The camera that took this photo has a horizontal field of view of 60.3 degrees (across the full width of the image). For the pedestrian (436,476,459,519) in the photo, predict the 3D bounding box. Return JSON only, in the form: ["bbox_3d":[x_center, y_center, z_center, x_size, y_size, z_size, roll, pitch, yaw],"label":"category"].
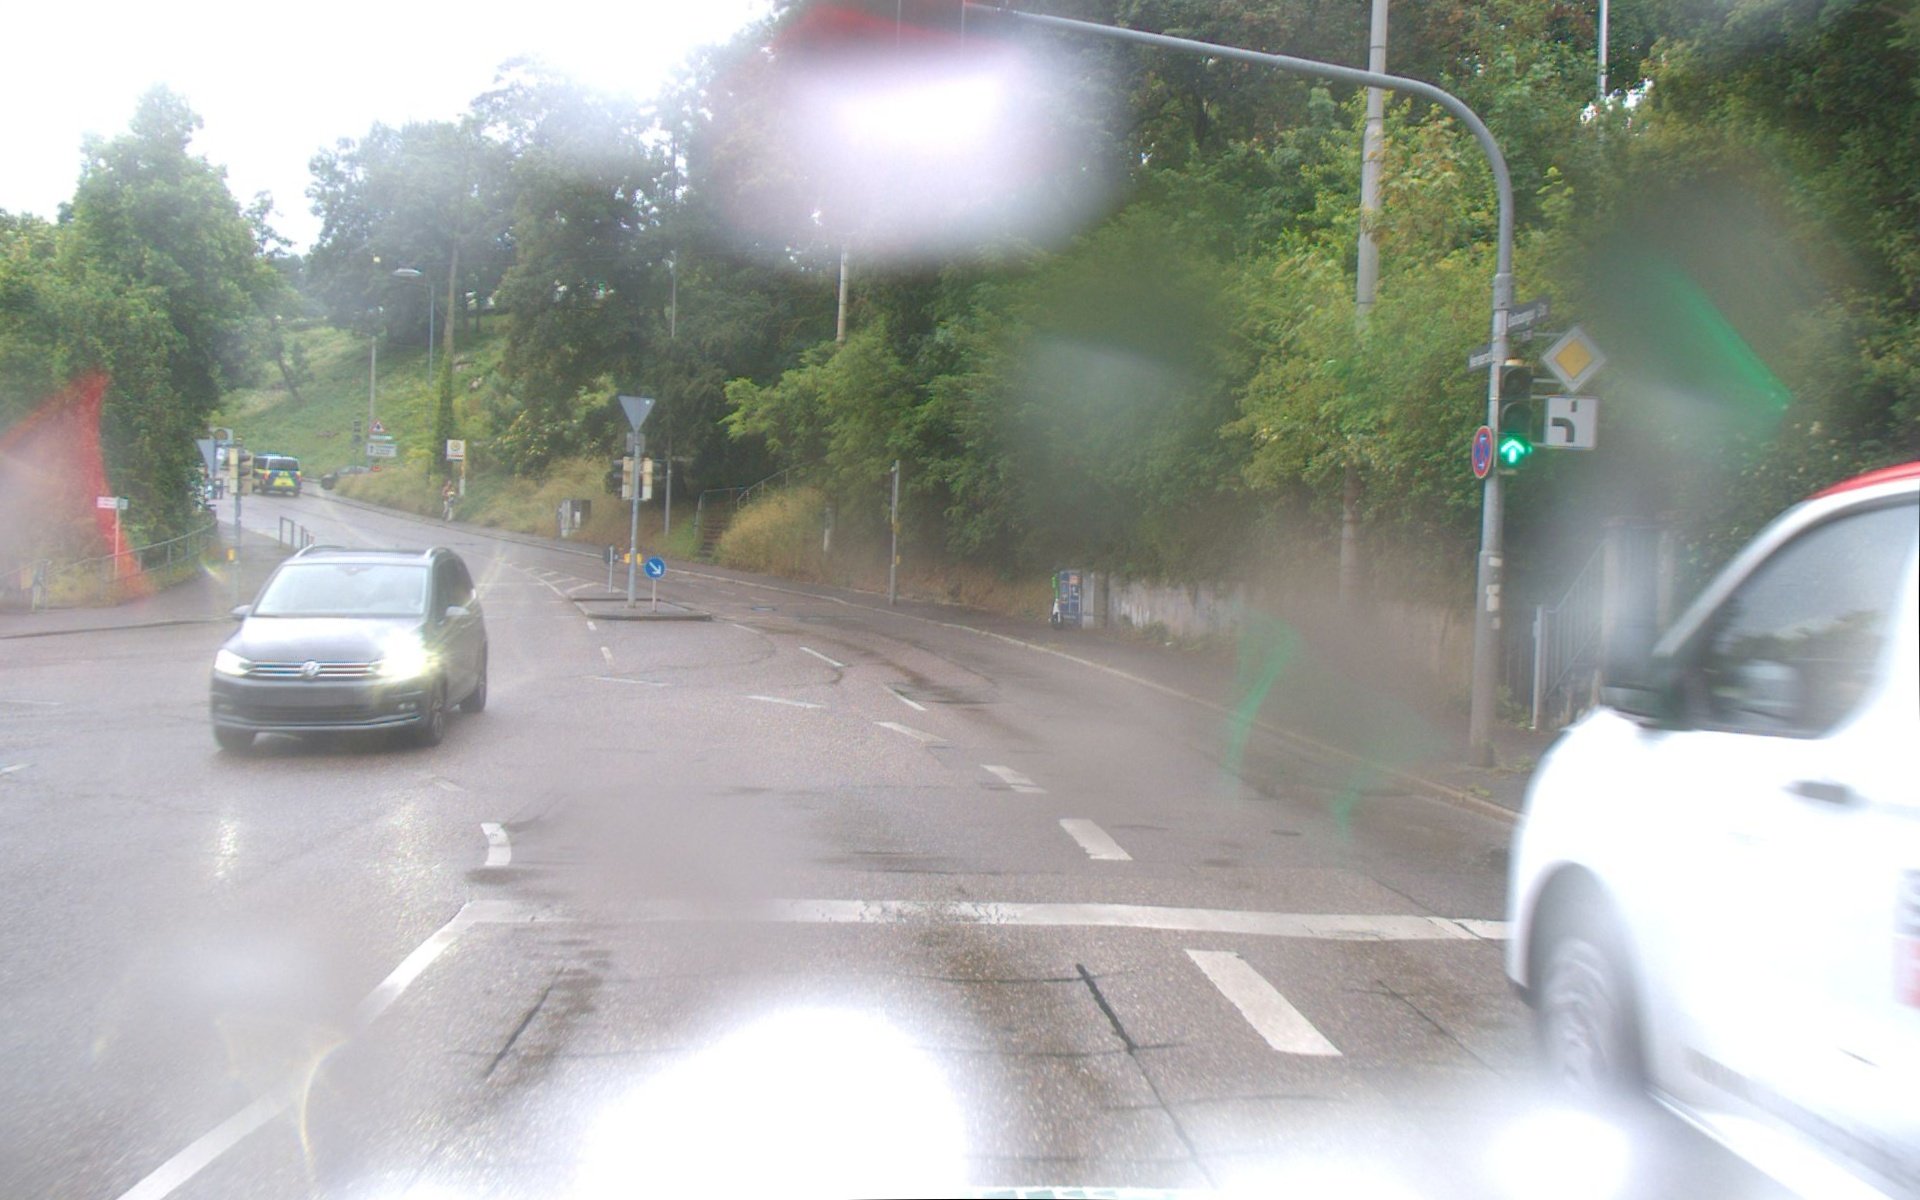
[{"bbox_3d":[-21.947,-4.381,70.823,0.868,1.767,0.860,1,-1,-21],"label":"pedestrian"}]

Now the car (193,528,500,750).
[{"bbox_3d":[-5.337,0.206,14.953,1.815,1.709,4.164,-1,2,-9],"label":"car"}]

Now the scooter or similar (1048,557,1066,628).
[{"bbox_3d":[1.860,-0.152,31.669,0.315,1.302,0.752,1,3,4],"label":"scooter or similar"}]

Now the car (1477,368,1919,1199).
[{"bbox_3d":[2.945,0.582,3.268,2.025,2.041,4.812,2,1,-4],"label":"car"}]

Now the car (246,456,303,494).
[{"bbox_3d":[-35.608,-6.494,85.868,1.901,1.811,3.954,2,2,-34],"label":"car"}]
